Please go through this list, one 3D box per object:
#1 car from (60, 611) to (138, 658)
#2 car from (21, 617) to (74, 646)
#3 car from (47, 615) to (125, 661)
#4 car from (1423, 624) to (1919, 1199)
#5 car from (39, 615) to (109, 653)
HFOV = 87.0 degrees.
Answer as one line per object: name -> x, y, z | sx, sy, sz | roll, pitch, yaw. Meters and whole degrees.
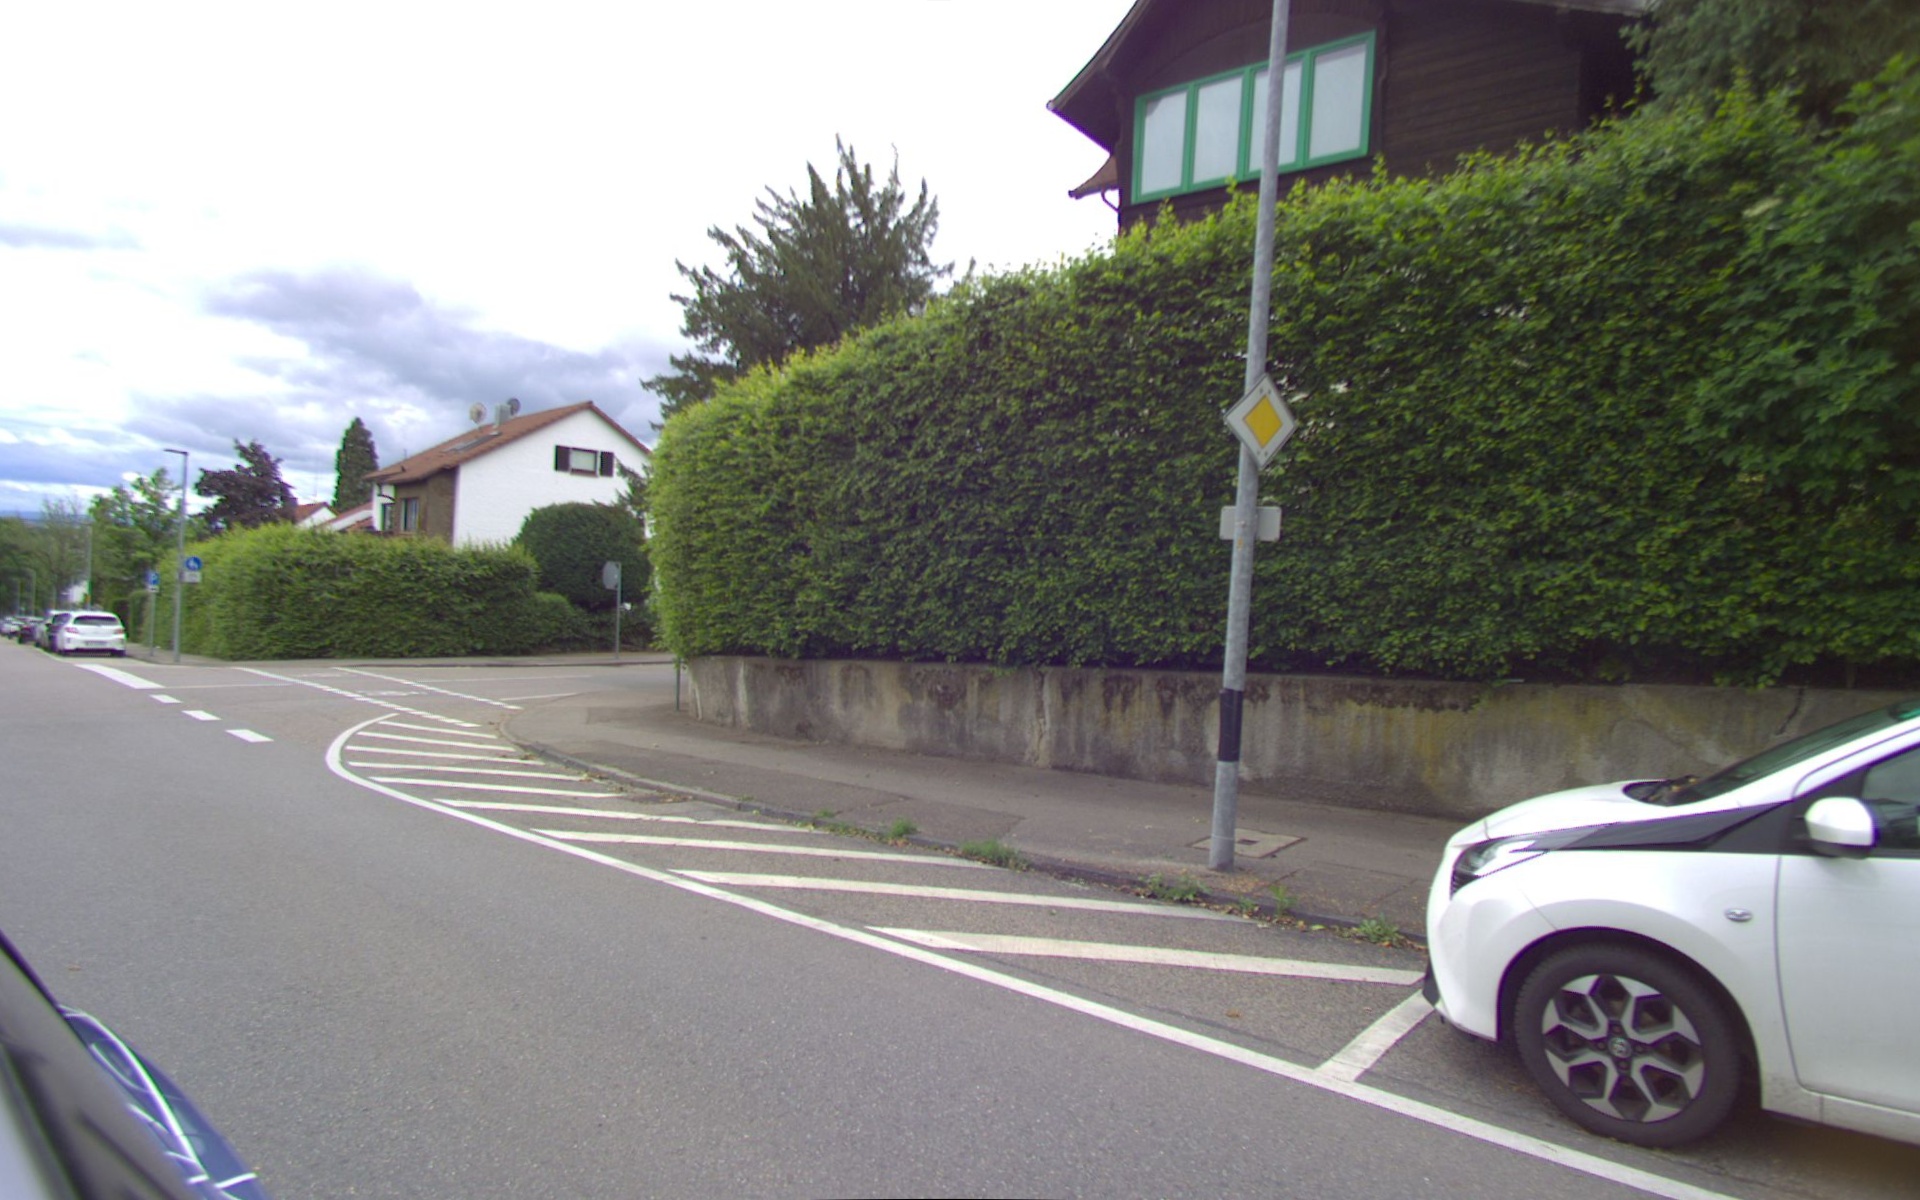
car -> -28.911, 1.160, 33.955 | 1.670, 1.430, 3.582 | 6, -5, -44
car -> -50.399, 1.737, 55.865 | 1.917, 1.561, 4.008 | 3, -3, -45
car -> -32.388, 1.374, 37.449 | 1.761, 1.501, 4.742 | 7, -6, -44
car -> 3.420, 0.821, 2.844 | 3.512, 1.459, 1.726 | -1, -4, 42
car -> -36.711, 1.408, 41.906 | 1.864, 1.501, 4.345 | 3, -3, -45
